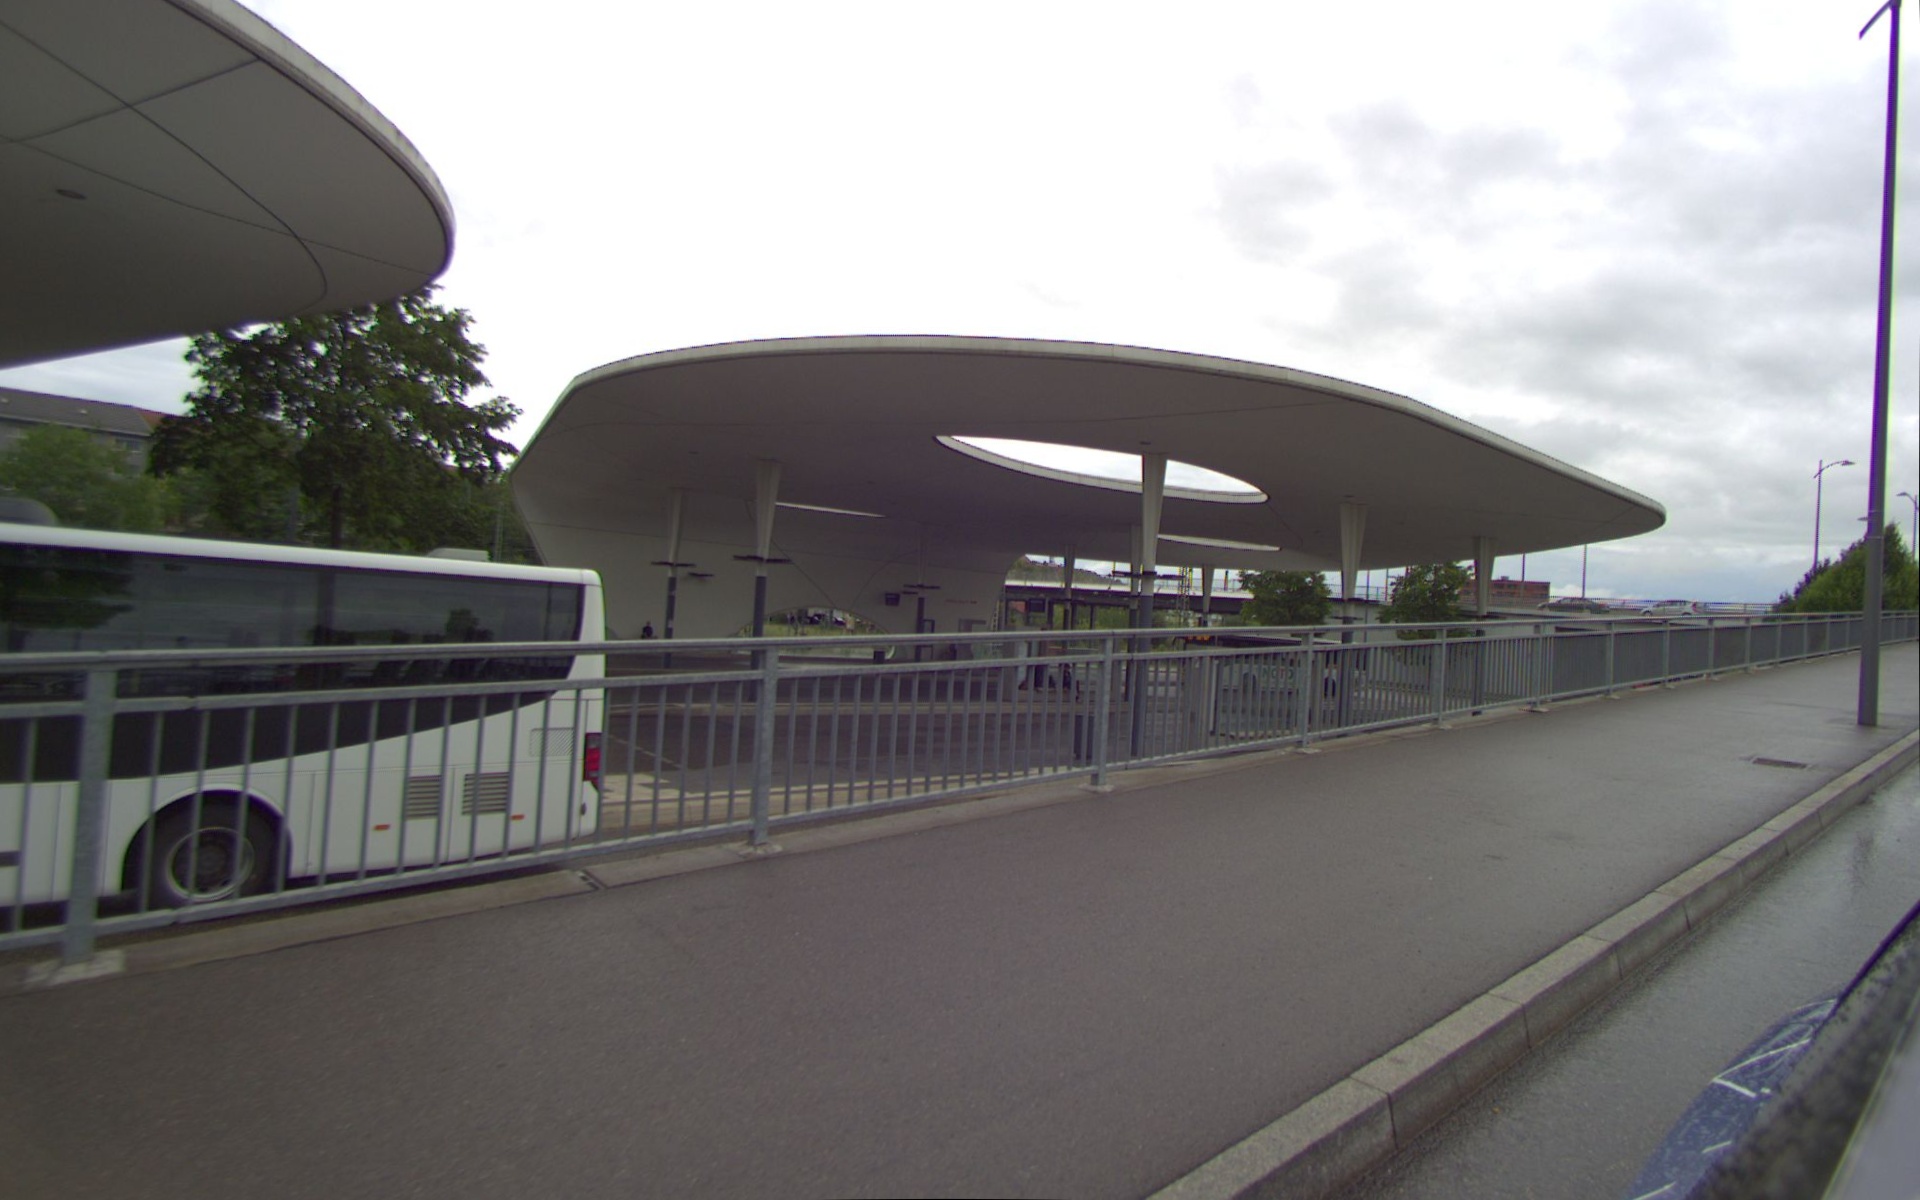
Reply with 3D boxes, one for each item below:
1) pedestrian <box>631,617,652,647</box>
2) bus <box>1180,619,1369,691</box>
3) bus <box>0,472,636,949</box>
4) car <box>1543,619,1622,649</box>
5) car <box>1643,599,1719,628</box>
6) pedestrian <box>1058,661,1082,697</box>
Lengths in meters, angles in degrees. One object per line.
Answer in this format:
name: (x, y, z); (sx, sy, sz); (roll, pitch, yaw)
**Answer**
pedestrian: (-14.634, 1.481, 46.544); (0.698, 1.341, 0.801); (0, -1, -35)
bus: (17.146, 2.818, 54.481); (11.906, 3.299, 2.798); (-1, -1, -33)
bus: (-8.913, 0.698, 7.380); (12.203, 3.406, 2.849); (5, -4, -41)
car: (46.283, 2.525, 75.298); (2.079, 1.993, 4.675); (3, -1, -43)
car: (52.633, 0.958, 73.930); (1.817, 1.993, 4.208); (2, -1, -37)
pedestrian: (3.824, 2.752, 35.262); (0.658, 1.178, 0.535); (0, -1, -44)
